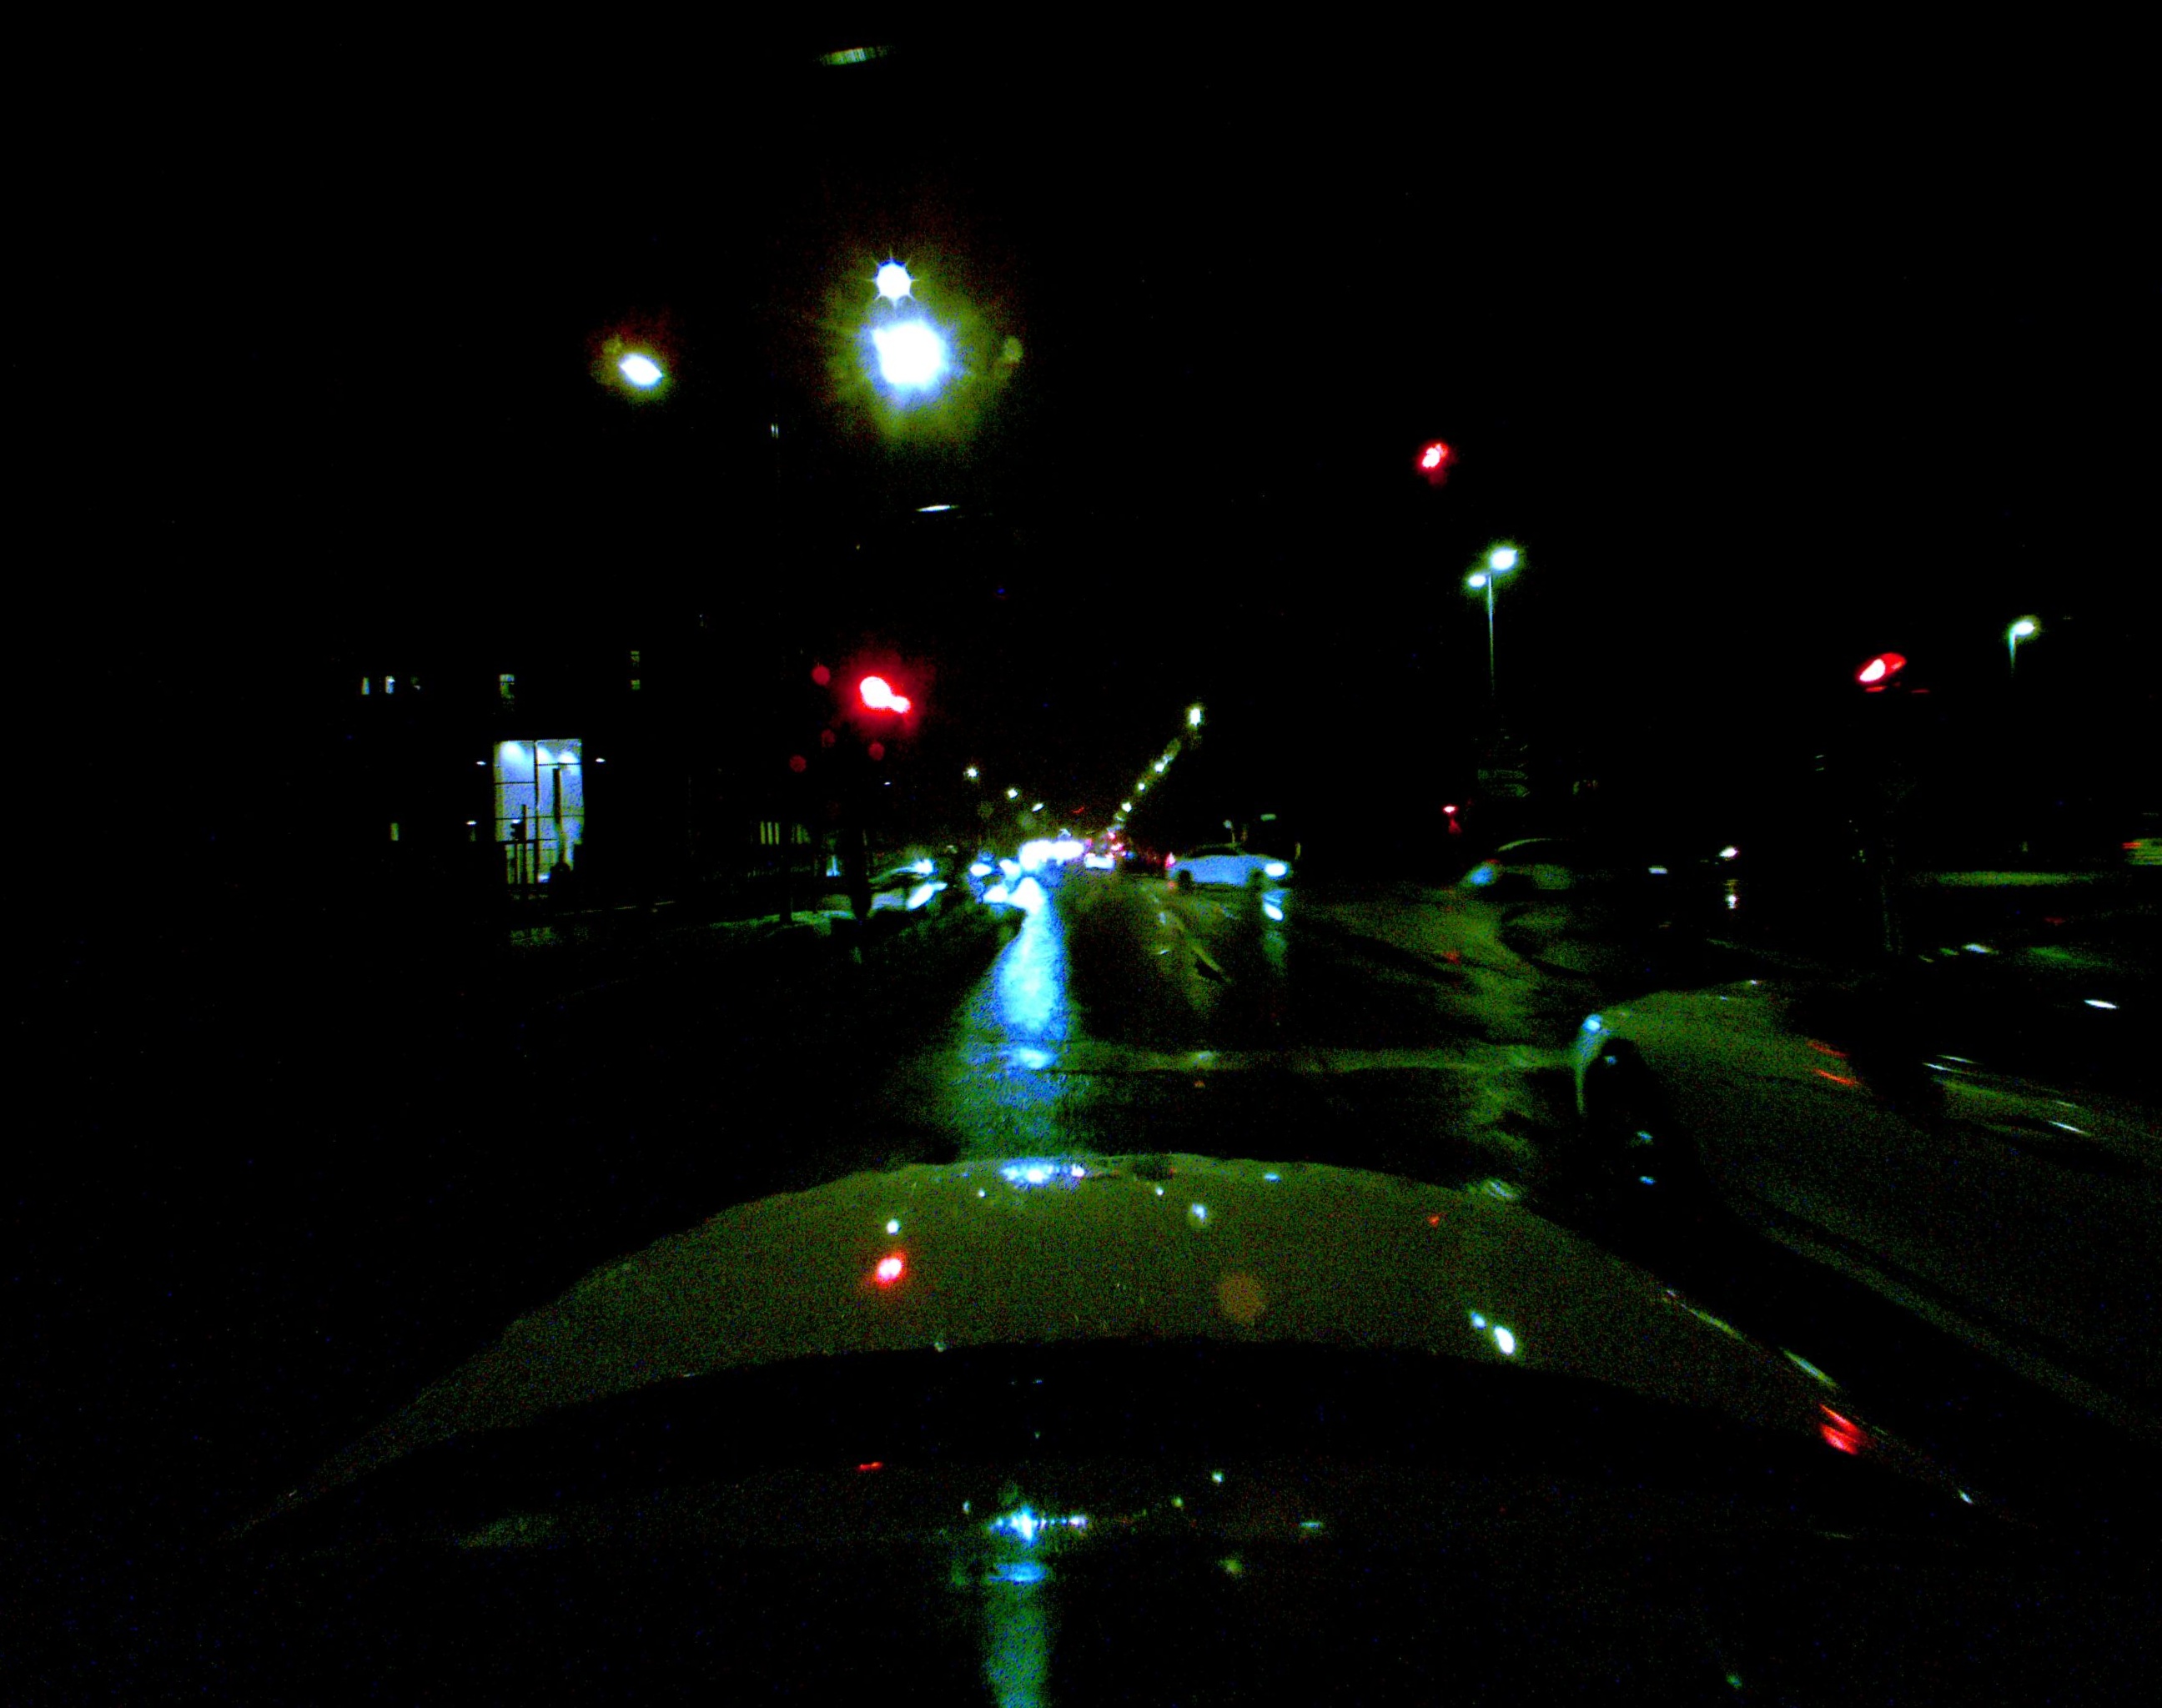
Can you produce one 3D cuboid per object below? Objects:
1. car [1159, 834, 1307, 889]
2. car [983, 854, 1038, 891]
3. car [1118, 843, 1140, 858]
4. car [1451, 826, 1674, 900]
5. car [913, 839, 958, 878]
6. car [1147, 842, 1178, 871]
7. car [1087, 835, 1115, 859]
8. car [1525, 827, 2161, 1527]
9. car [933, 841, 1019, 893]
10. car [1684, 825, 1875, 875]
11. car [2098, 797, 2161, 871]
[{"bbox_3d":[4.975,0.273,26.957,4.405,1.671,1.852,-2,-1,36],"label":"car"},{"bbox_3d":[-3.520,0.874,39.721,1.905,1.618,4.490,-1,0,-15],"label":"car"},{"bbox_3d":[5.189,-0.335,88.170,2.085,1.545,4.305,-1,0,-1],"label":"car"},{"bbox_3d":[11.828,0.230,20.277,4.391,1.649,1.840,-1,-1,6],"label":"car"},{"bbox_3d":[-6.806,0.227,38.273,1.952,1.672,4.402,-1,0,-9],"label":"car"},{"bbox_3d":[5.871,0.200,59.147,2.029,2.014,4.311,-1,0,3],"label":"car"},{"bbox_3d":[1.880,-0.648,78.879,2.434,2.194,5.076,-1,0,-1],"label":"car"},{"bbox_3d":[3.126,0.667,1.955,1.714,1.446,4.383,-3,0,1],"label":"car"},{"bbox_3d":[-3.840,0.461,29.303,1.728,1.734,3.728,-1,-1,-30],"label":"car"},{"bbox_3d":[24.257,-0.122,28.449,4.822,1.590,1.858,-1,-1,8],"label":"car"},{"bbox_3d":[28.482,-0.536,19.887,4.803,1.769,1.838,-1,-1,2],"label":"car"}]
